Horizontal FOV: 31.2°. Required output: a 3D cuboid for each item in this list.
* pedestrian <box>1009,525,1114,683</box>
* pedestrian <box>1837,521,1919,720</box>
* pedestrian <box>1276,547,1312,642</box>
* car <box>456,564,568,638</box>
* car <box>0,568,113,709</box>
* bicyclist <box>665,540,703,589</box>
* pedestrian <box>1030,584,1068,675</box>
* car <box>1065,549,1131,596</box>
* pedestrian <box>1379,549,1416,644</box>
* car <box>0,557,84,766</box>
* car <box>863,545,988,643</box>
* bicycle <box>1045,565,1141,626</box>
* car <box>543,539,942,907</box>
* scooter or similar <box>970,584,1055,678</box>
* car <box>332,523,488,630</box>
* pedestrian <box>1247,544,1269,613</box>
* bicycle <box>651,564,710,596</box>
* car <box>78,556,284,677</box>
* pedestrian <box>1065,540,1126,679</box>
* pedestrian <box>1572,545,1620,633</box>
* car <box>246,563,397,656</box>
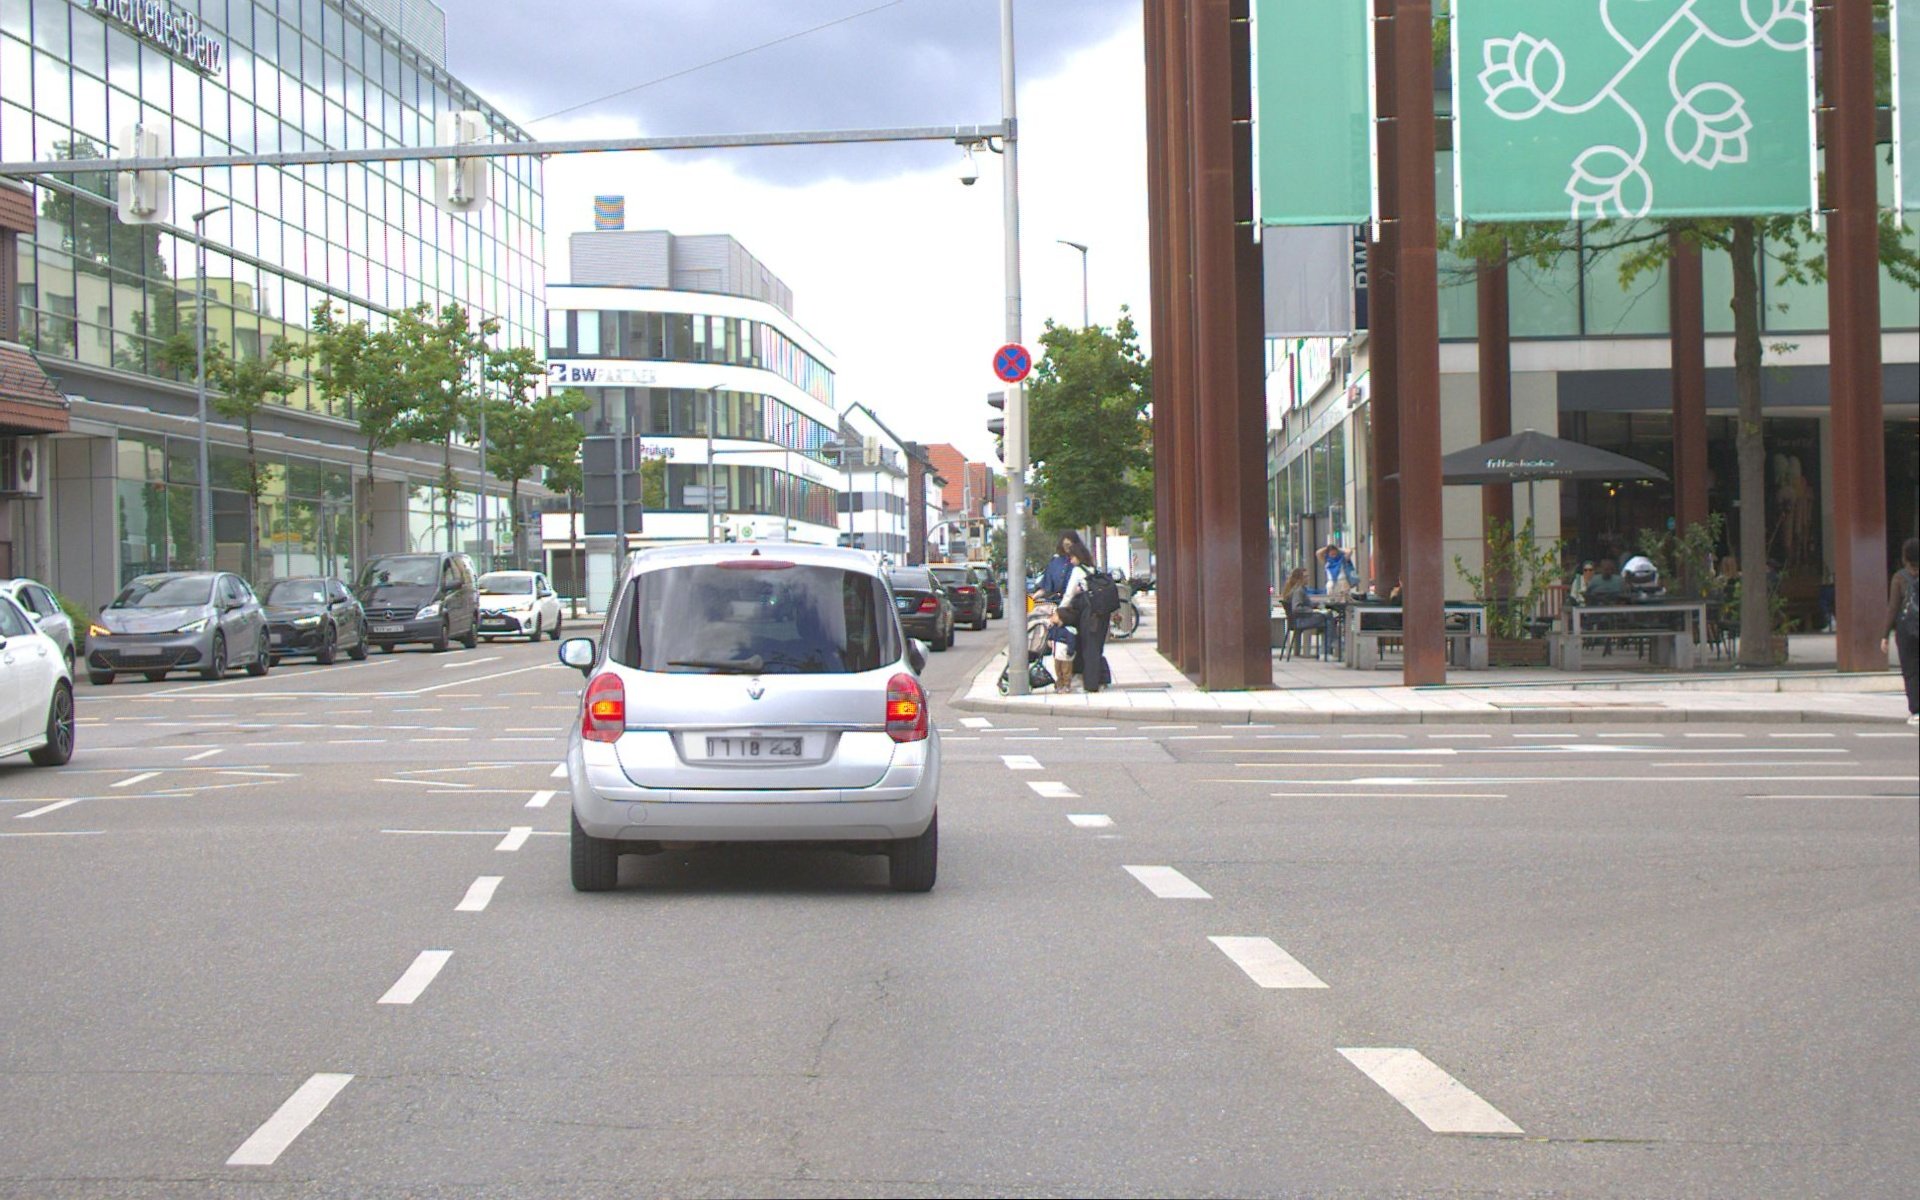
[{"bbox_3d":[1.069,0.032,36.191,0.872,1.641,0.679,0,1,37],"label":"pedestrian"},{"bbox_3d":[8.125,0.161,29.527,0.878,1.675,1.120,-1,1,-1],"label":"pedestrian"},{"bbox_3d":[4.291,-0.077,44.229,0.448,1.216,0.606,0,1,5],"label":"pedestrian"},{"bbox_3d":[-9.521,0.000,73.345,1.660,1.460,4.000,-2,1,2],"label":"car"},{"bbox_3d":[-11.233,0.443,39.496,1.635,1.413,4.199,-2,2,4],"label":"car"},{"bbox_3d":[-9.434,-1.218,117.481,1.006,1.655,0.933,1,0,-25],"label":"bicyclist"},{"bbox_3d":[0.917,0.299,35.413,0.362,0.921,0.454,0,1,4],"label":"pedestrian"},{"bbox_3d":[4.106,-0.836,102.041,1.877,1.330,4.000,1,1,3],"label":"car"},{"bbox_3d":[5.613,-0.050,44.097,0.448,1.216,0.606,0,1,6],"label":"pedestrian"},{"bbox_3d":[-7.644,0.461,24.380,1.744,1.454,4.235,-1,1,0],"label":"car"},{"bbox_3d":[-0.545,-0.130,57.678,1.670,1.549,3.641,1,1,6],"label":"car"},{"bbox_3d":[2.247,-0.080,57.802,1.561,0.989,0.752,-1,1,6],"label":"bicycle"},{"bbox_3d":[-0.946,0.498,16.612,1.669,1.549,3.642,1,1,0],"label":"car"},{"bbox_3d":[0.547,0.315,35.733,0.634,0.958,0.619,0,1,36],"label":"scooter or similar"},{"bbox_3d":[-10.416,-0.470,65.465,1.865,1.903,5.113,-2,1,3],"label":"car"},{"bbox_3d":[6.737,-0.494,77.713,0.427,1.544,0.481,-1,1,0],"label":"pedestrian"},{"bbox_3d":[-9.589,-0.690,117.791,1.006,1.015,3.131,1,0,-25],"label":"bicycle"},{"bbox_3d":[-10.958,0.197,48.638,1.758,1.512,4.387,-2,1,2],"label":"car"},{"bbox_3d":[1.399,0.096,35.420,0.601,1.415,0.582,0,1,4],"label":"pedestrian"},{"bbox_3d":[8.905,-0.157,48.152,0.515,1.204,0.795,-1,2,0],"label":"pedestrian"},{"bbox_3d":[-10.402,0.135,56.240,1.702,1.438,4.000,-1,1,0],"label":"car"}]
